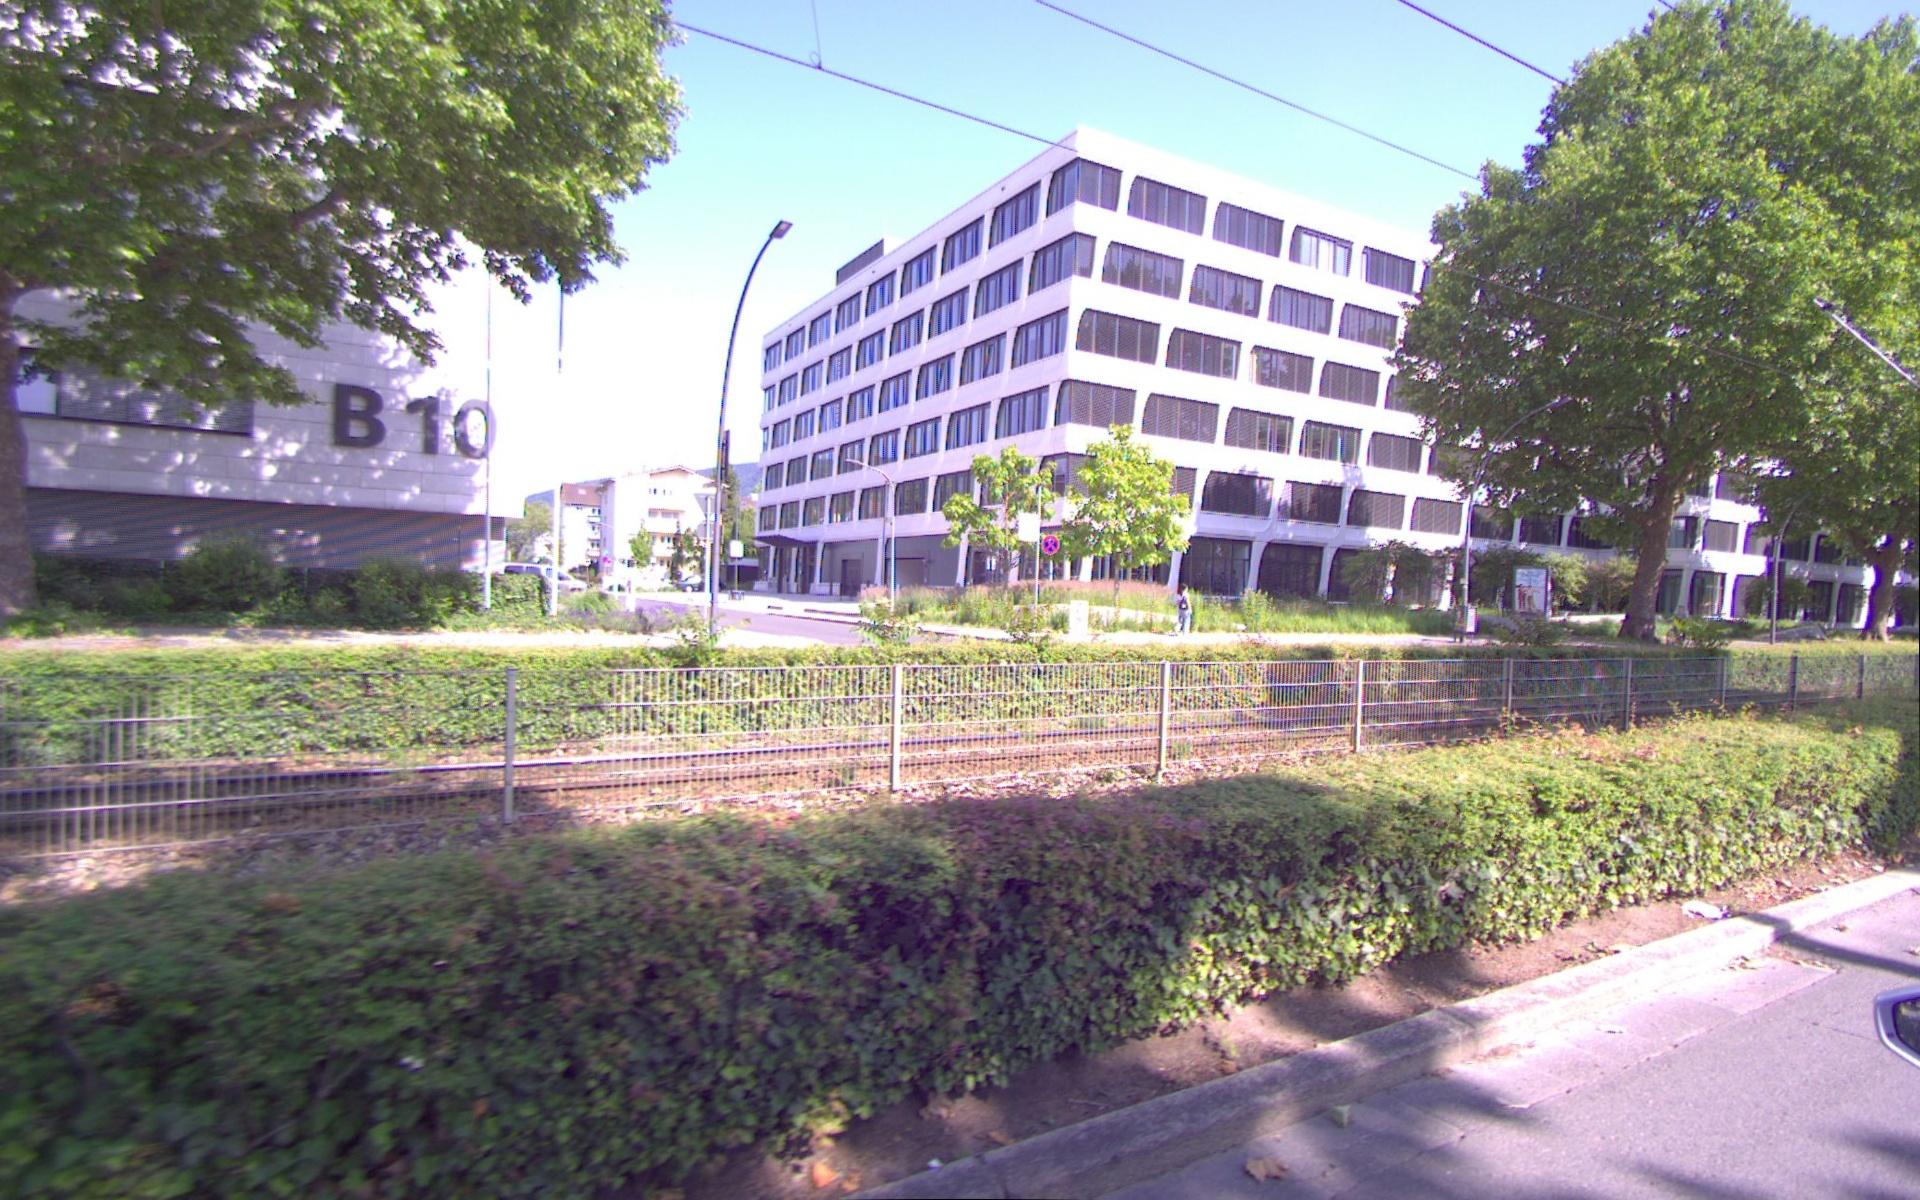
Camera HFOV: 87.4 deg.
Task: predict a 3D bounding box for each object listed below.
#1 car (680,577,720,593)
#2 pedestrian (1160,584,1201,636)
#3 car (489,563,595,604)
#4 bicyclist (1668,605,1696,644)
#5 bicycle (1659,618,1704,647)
[{"bbox_3d":[-22.046,-1.249,85.062,2.995,1.211,1.360,2,1,-30],"label":"car"},{"bbox_3d":[7.000,0.313,31.868,1.002,1.609,0.717,2,1,-29],"label":"pedestrian"},{"bbox_3d":[-20.412,-0.804,49.117,4.562,1.839,1.984,2,1,-30],"label":"car"},{"bbox_3d":[29.511,1.003,41.069,0.633,1.555,0.651,1,2,-29],"label":"bicyclist"},{"bbox_3d":[29.518,1.327,41.080,2.006,1.139,0.661,2,1,-30],"label":"bicycle"}]
